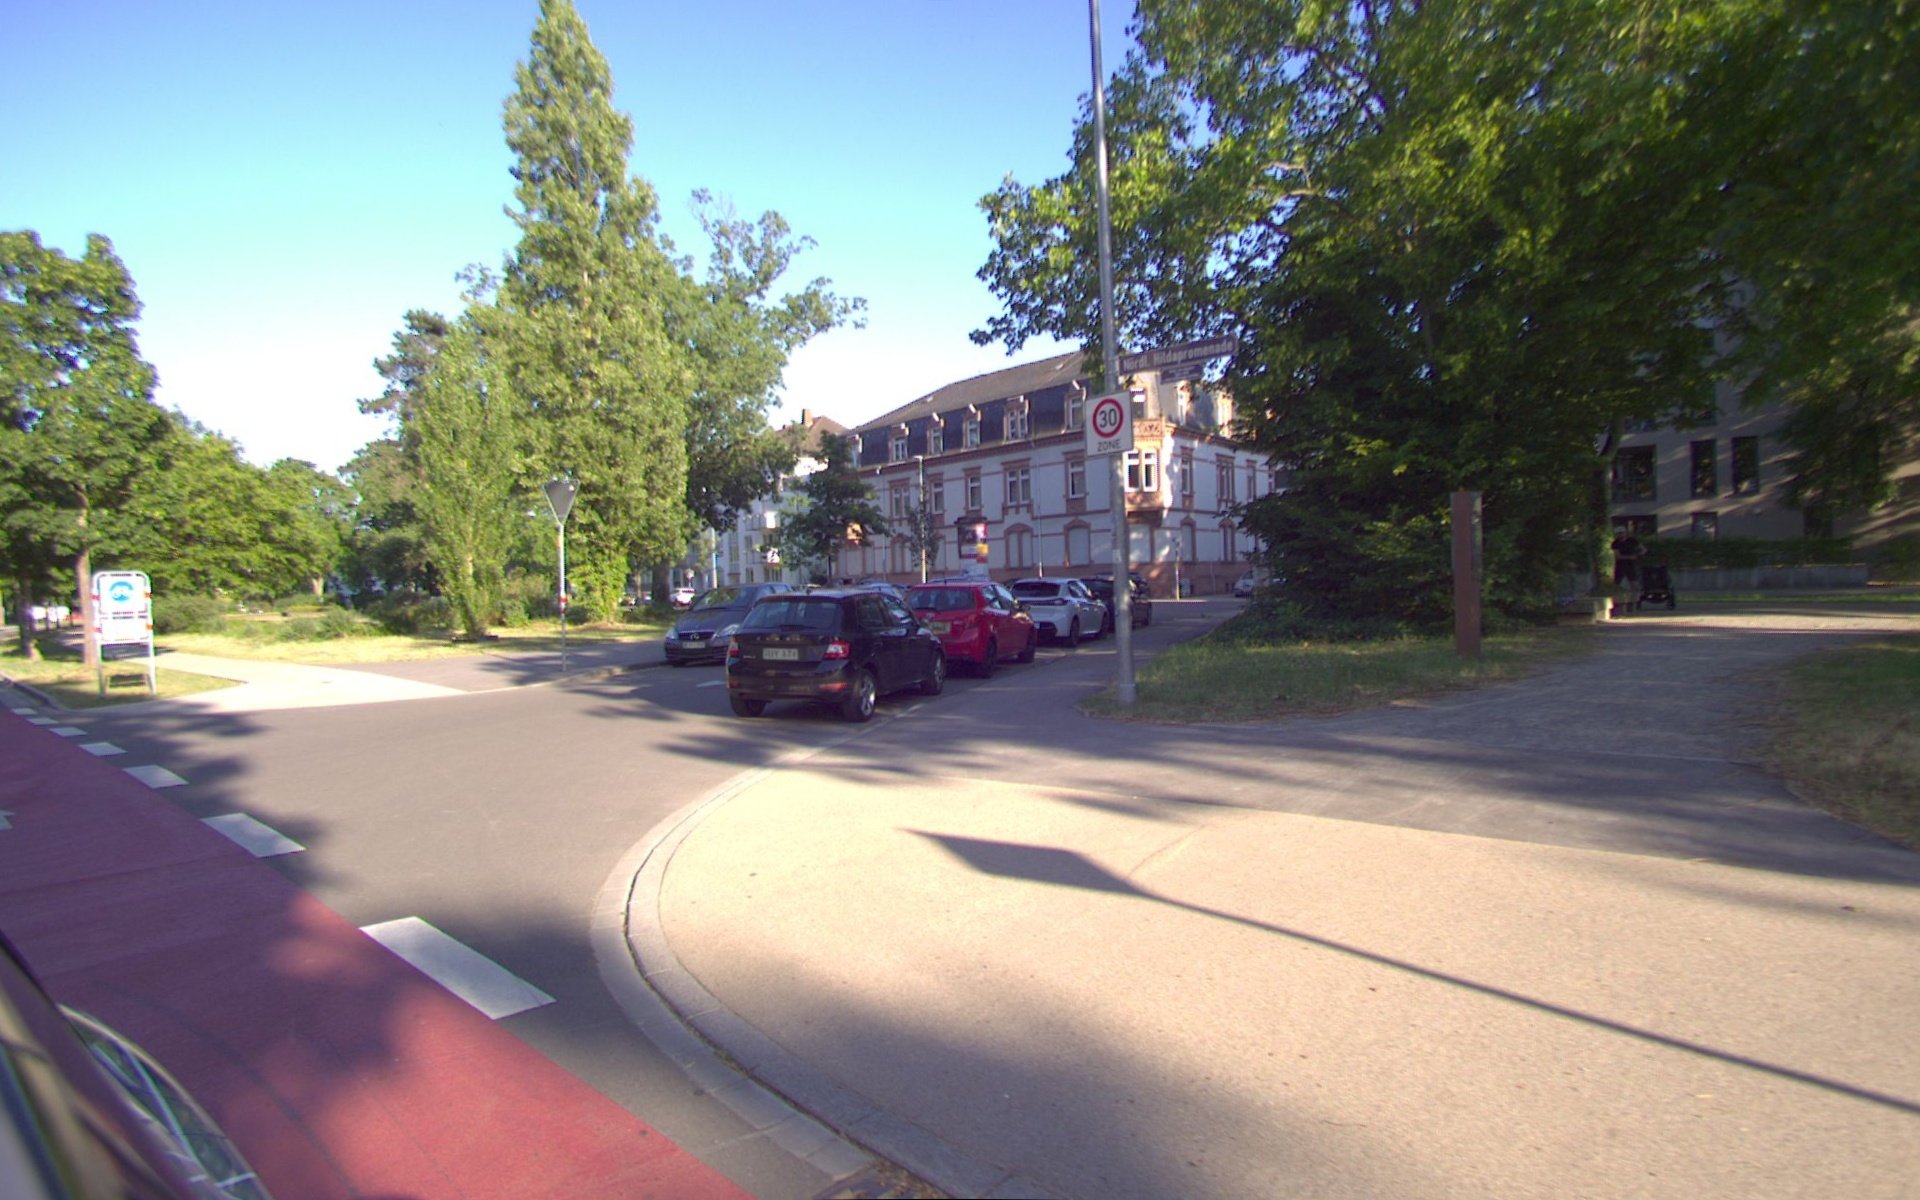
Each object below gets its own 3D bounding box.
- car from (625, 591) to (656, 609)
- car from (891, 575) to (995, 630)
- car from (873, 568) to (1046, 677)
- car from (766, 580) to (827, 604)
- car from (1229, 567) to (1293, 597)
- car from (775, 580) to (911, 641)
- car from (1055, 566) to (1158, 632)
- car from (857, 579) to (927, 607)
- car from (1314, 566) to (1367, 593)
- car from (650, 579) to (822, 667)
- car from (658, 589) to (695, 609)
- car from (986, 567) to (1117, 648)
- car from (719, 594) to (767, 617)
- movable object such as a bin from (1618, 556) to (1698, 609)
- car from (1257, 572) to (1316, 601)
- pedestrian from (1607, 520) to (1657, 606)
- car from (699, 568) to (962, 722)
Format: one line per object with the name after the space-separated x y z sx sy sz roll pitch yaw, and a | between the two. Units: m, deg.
-31.247 0.024 98.796 1.859 1.585 4.613 -2 2 -31 | car
-0.451 0.035 32.489 1.827 1.656 4.246 -1 1 22 | car
0.132 0.270 17.063 1.874 1.585 3.979 0 2 17 | car
-11.559 -0.609 71.387 1.863 1.585 4.602 -2 3 -45 | car
16.420 -1.008 55.127 1.890 1.585 3.946 1 3 41 | car
-2.915 0.217 26.176 1.826 1.411 4.250 -1 1 19 | car
3.952 -0.085 26.841 1.878 1.585 3.972 0 2 21 | car
-4.187 -0.434 61.642 1.862 1.585 4.606 -2 3 -41 | car
23.904 -1.318 63.528 1.890 1.585 3.946 1 3 41 | car
-4.524 0.403 21.024 1.824 1.643 3.825 -1 1 17 | car
-25.275 -0.118 90.189 1.859 1.585 4.612 -2 2 -33 | car
2.109 0.081 22.241 1.877 1.585 3.973 0 2 21 | car
-16.804 0.404 78.296 1.860 1.585 4.609 -2 3 -38 | car
13.715 -0.346 19.926 0.942 0.997 1.325 -1 1 19 | movable object such as a bin
19.164 -0.811 59.293 1.890 1.585 3.946 1 3 41 | car
13.890 -0.763 20.927 0.667 1.708 0.660 -2 1 18 | pedestrian
-1.425 0.411 12.819 1.874 1.585 3.979 0 2 17 | car
